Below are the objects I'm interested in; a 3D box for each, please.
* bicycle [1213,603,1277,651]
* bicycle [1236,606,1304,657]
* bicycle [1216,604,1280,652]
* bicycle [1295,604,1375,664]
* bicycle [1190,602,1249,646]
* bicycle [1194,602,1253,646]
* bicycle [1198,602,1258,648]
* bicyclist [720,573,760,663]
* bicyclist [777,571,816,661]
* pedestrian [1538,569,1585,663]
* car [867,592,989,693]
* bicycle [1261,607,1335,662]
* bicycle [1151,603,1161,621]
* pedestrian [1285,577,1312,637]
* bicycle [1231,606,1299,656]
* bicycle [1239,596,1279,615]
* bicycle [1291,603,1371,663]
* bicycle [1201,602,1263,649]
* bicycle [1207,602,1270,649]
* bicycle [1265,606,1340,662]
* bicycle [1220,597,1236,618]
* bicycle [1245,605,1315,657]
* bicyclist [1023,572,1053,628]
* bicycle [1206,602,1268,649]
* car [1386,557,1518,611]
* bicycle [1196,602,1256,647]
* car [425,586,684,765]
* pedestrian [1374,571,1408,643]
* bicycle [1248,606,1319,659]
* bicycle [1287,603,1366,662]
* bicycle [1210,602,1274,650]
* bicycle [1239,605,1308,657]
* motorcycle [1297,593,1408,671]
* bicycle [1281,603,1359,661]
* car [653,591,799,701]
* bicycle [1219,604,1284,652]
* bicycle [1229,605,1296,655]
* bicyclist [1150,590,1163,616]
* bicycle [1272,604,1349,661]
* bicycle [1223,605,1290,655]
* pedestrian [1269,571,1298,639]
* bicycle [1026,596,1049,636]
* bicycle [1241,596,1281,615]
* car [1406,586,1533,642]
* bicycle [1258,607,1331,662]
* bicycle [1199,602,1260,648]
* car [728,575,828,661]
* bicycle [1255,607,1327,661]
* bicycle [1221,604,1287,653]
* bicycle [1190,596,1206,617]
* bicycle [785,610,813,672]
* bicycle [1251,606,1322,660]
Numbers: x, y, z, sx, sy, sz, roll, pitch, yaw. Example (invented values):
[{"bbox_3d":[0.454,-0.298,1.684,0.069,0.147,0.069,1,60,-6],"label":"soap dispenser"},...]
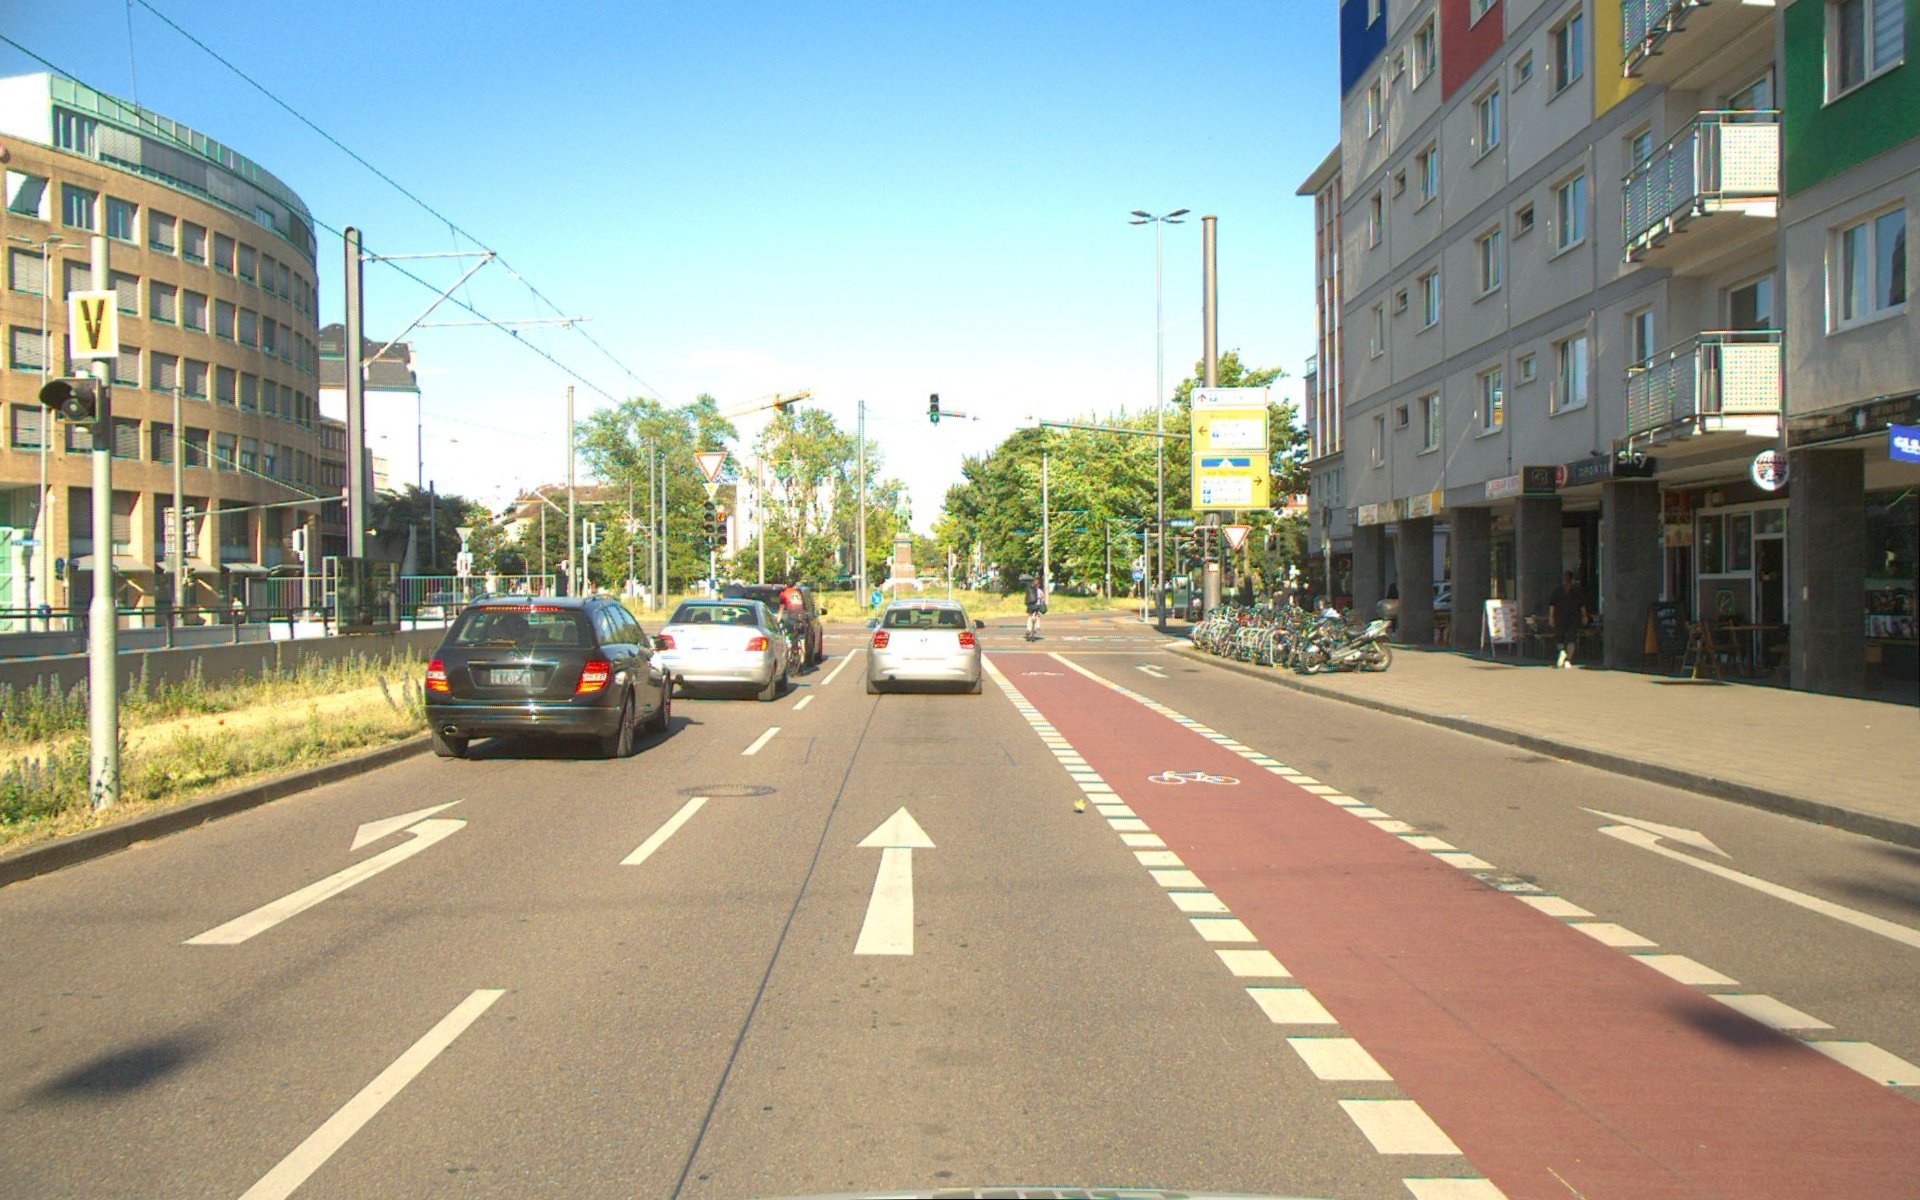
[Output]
[{"bbox_3d":[6.694,0.632,38.873,1.435,1.086,0.257,-1,0,1],"label":"bicycle"},{"bbox_3d":[6.795,0.683,36.285,1.435,1.086,0.257,-1,0,1],"label":"bicycle"},{"bbox_3d":[6.711,0.645,38.553,1.435,1.086,0.257,-1,0,1],"label":"bicycle"},{"bbox_3d":[7.032,0.634,31.026,1.435,1.086,0.257,-1,0,1],"label":"bicycle"},{"bbox_3d":[6.580,0.601,41.998,1.435,1.086,0.257,-1,0,1],"label":"bicycle"},{"bbox_3d":[6.623,0.602,41.607,1.435,1.086,0.257,-1,0,1],"label":"bicycle"},{"bbox_3d":[6.624,0.623,40.905,1.435,1.086,0.257,-1,0,1],"label":"bicycle"},{"bbox_3d":[-3.968,0.325,29.882,0.604,1.599,0.686,1,0,0],"label":"bicyclist"},{"bbox_3d":[-2.962,0.280,29.980,0.606,1.599,0.684,-1,0,-13],"label":"bicyclist"},{"bbox_3d":[10.464,0.276,28.783,0.543,1.610,0.574,-2,0,-1],"label":"pedestrian"},{"bbox_3d":[-0.491,0.608,26.140,1.761,1.439,3.999,-1,0,-1],"label":"car"},{"bbox_3d":[6.917,0.706,33.842,1.435,1.086,0.257,-1,0,1],"label":"bicycle"},{"bbox_3d":[10.968,0.652,92.556,0.344,0.975,1.573,1,0,0],"label":"bicycle"},{"bbox_3d":[10.773,0.228,52.620,0.808,1.888,0.917,1,0,13],"label":"pedestrian"},{"bbox_3d":[6.764,0.683,36.711,1.435,1.086,0.257,-1,0,1],"label":"bicycle"},{"bbox_3d":[17.837,0.345,98.697,2.270,1.087,0.556,1,0,22],"label":"bicycle"},{"bbox_3d":[7.032,0.623,31.397,1.435,1.086,0.257,-1,0,1],"label":"bicycle"},{"bbox_3d":[6.606,0.618,40.174,1.435,1.086,0.257,-1,0,1],"label":"bicycle"},{"bbox_3d":[6.653,0.613,39.489,1.435,1.086,0.257,-1,0,1],"label":"bicycle"},{"bbox_3d":[6.923,0.683,33.470,1.435,1.086,0.257,-1,0,1],"label":"bicycle"},{"bbox_3d":[13.343,0.382,82.508,0.408,1.026,1.944,1,0,-2],"label":"bicycle"},{"bbox_3d":[6.882,0.671,35.574,1.435,1.086,0.257,-1,0,1],"label":"bicycle"},{"bbox_3d":[2.218,-0.002,47.164,0.769,1.558,0.894,1,0,-1],"label":"bicyclist"},{"bbox_3d":[6.665,0.610,39.819,1.435,1.086,0.257,-1,0,1],"label":"bicycle"},{"bbox_3d":[19.750,-0.625,66.599,4.632,2.049,2.259,1,0,0],"label":"car"},{"bbox_3d":[6.639,0.614,41.271,1.435,1.086,0.257,-1,0,1],"label":"bicycle"},{"bbox_3d":[-3.780,0.631,16.129,1.692,1.496,4.407,0,0,-4],"label":"car"},{"bbox_3d":[12.511,0.195,48.035,0.825,2.049,0.890,1,0,8],"label":"pedestrian"},{"bbox_3d":[6.883,0.696,35.232,1.435,1.086,0.257,-1,0,1],"label":"bicycle"},{"bbox_3d":[7.024,0.625,31.750,1.435,1.086,0.257,-1,0,1],"label":"bicycle"},{"bbox_3d":[6.679,0.616,39.194,1.435,1.086,0.257,-1,0,1],"label":"bicycle"},{"bbox_3d":[6.812,0.665,35.942,1.435,1.086,0.257,-1,0,1],"label":"bicycle"},{"bbox_3d":[7.010,0.565,29.583,1.816,1.323,0.652,-2,0,2],"label":"motorcycle"},{"bbox_3d":[7.013,0.615,32.224,1.435,1.086,0.257,-1,0,1],"label":"bicycle"},{"bbox_3d":[-3.322,0.614,24.123,1.611,1.446,3.999,1,0,-1],"label":"car"},{"bbox_3d":[6.729,0.649,38.225,1.435,1.086,0.257,-1,0,1],"label":"bicycle"},{"bbox_3d":[6.785,0.679,37.168,1.435,1.086,0.257,-1,0,1],"label":"bicycle"},{"bbox_3d":[10.989,0.161,92.492,0.604,1.404,0.686,1,0,0],"label":"bicyclist"},{"bbox_3d":[6.917,0.648,32.649,1.435,1.086,0.257,-1,0,1],"label":"bicycle"},{"bbox_3d":[6.739,0.685,37.593,1.435,1.086,0.257,-1,0,1],"label":"bicycle"},{"bbox_3d":[9.921,0.155,50.774,0.774,2.049,0.870,1,0,6],"label":"pedestrian"},{"bbox_3d":[2.197,0.452,47.137,0.489,1.107,1.996,1,0,-1],"label":"bicycle"},{"bbox_3d":[18.078,0.348,99.276,2.270,1.087,0.556,1,0,22],"label":"bicycle"},{"bbox_3d":[19.594,0.529,63.687,4.272,2.049,1.972,1,0,0],"label":"car"},{"bbox_3d":[6.910,0.707,34.187,1.435,1.086,0.257,-1,0,1],"label":"bicycle"},{"bbox_3d":[6.594,0.611,40.536,1.435,1.086,0.257,-1,0,1],"label":"bicycle"},{"bbox_3d":[-3.698,0.338,34.189,1.669,1.650,3.999,-1,0,-1],"label":"car"},{"bbox_3d":[6.899,0.715,34.509,1.435,1.086,0.257,-1,0,1],"label":"bicycle"},{"bbox_3d":[6.733,0.652,37.911,1.435,1.086,0.257,-1,0,1],"label":"bicycle"},{"bbox_3d":[12.011,0.334,83.528,0.408,1.026,1.944,1,0,-2],"label":"bicycle"},{"bbox_3d":[-2.918,0.723,29.965,0.332,1.075,1.774,-1,0,-11],"label":"bicycle"},{"bbox_3d":[6.884,0.697,34.888,1.435,1.086,0.257,-1,0,1],"label":"bicycle"}]
